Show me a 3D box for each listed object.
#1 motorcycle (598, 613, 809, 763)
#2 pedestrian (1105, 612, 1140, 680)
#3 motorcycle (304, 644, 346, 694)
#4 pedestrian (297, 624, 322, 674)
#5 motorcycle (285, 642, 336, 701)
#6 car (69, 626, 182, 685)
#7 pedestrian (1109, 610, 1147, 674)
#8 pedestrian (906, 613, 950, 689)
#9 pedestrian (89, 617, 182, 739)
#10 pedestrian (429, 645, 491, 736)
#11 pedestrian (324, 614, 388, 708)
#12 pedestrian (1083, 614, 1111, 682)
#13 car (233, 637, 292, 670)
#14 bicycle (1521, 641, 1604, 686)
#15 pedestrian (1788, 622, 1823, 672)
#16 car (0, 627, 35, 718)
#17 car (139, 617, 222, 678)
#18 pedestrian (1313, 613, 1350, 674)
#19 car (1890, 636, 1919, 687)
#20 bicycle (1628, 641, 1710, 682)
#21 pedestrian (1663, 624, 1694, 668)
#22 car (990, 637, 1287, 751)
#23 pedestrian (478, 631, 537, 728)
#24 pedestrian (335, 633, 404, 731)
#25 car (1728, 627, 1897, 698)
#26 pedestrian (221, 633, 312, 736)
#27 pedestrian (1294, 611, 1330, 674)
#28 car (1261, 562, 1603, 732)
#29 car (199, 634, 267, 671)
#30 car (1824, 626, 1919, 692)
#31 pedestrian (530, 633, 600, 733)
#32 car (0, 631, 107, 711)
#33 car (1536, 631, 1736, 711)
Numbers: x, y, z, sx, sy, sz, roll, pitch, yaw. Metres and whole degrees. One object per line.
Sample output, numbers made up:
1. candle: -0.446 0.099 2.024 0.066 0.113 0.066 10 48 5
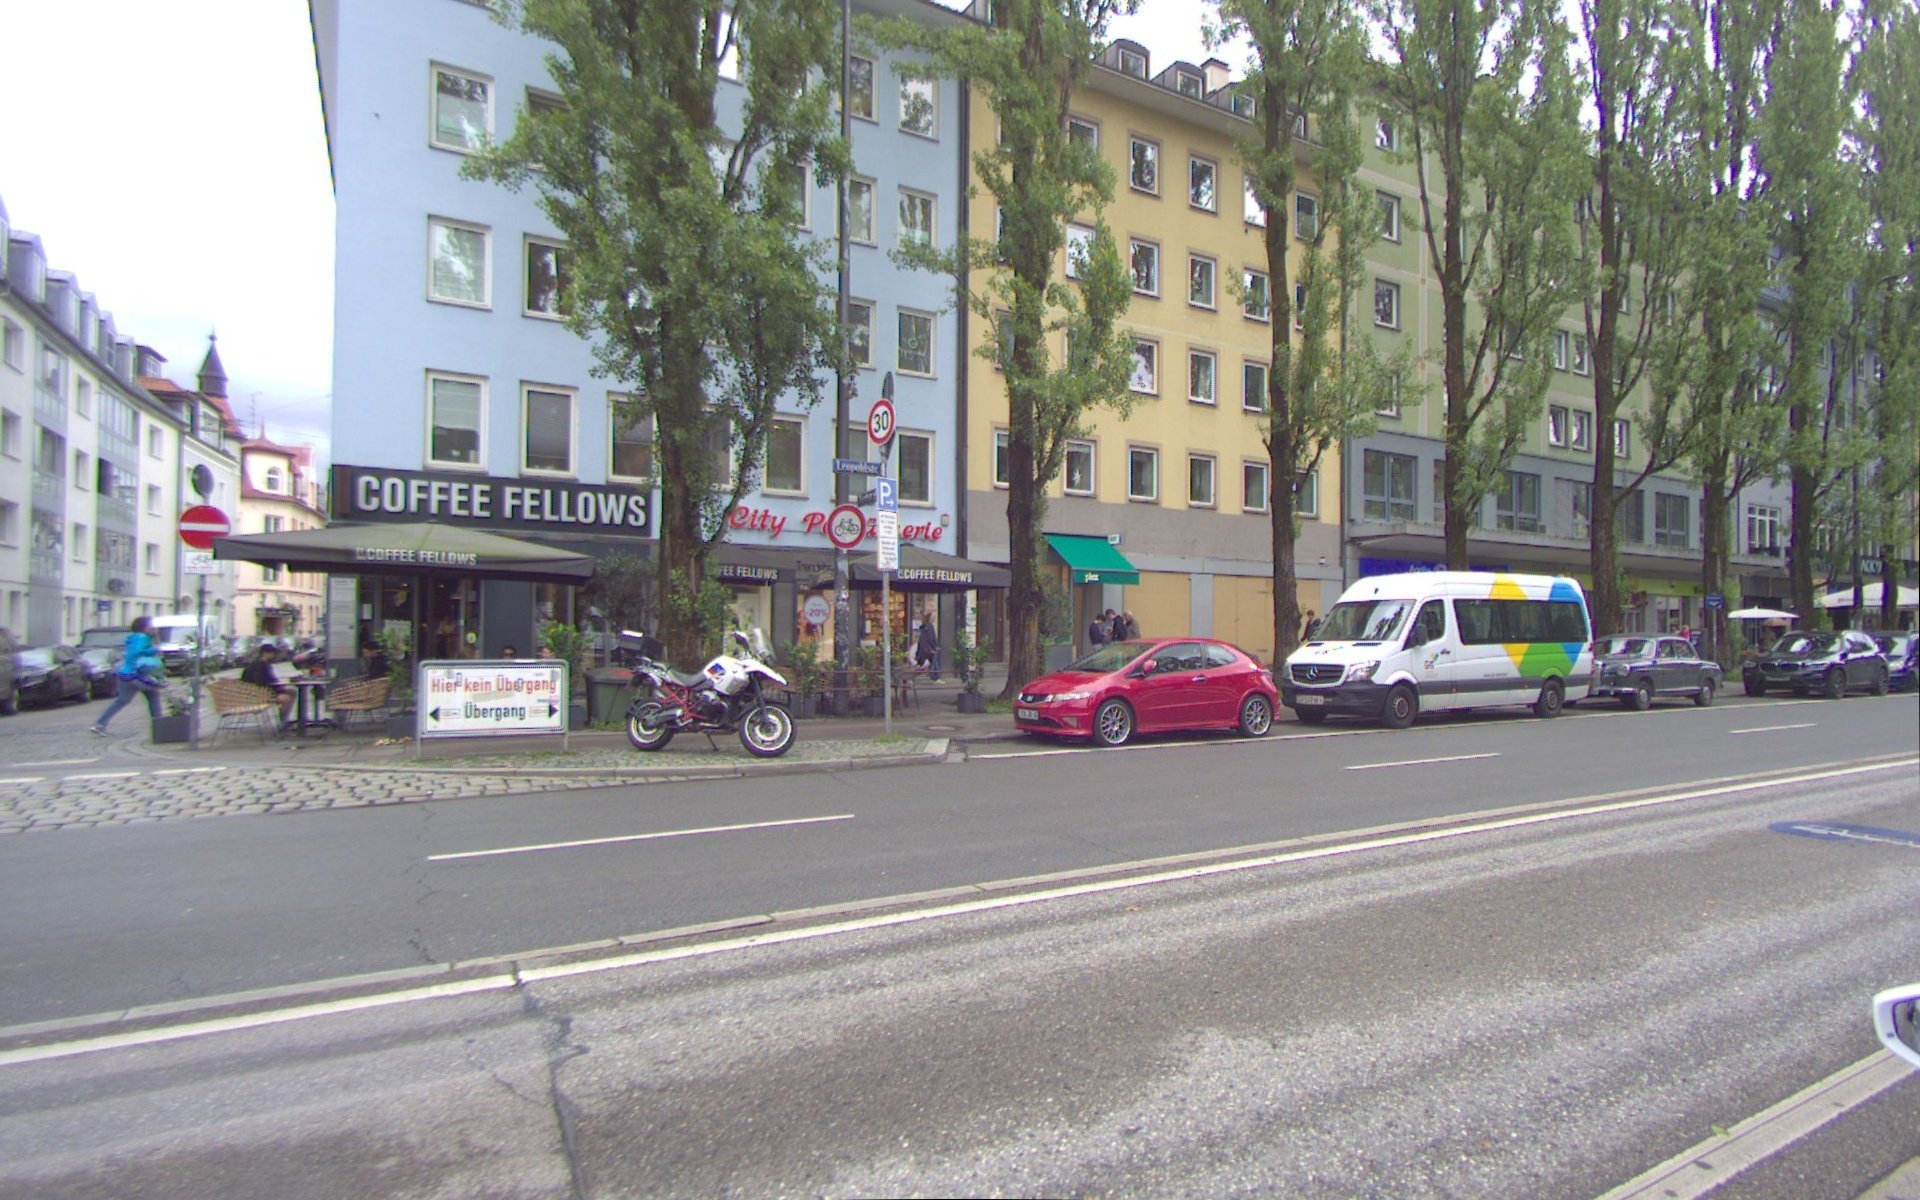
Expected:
1. motorcycle: -2.937 0.954 11.498 2.301 1.584 0.715 1 0 18
2. pedestrian: 4.016 1.143 24.871 0.713 1.657 0.699 0 -1 -6
3. motorcycle: -16.888 1.812 26.757 0.729 1.219 2.748 -1 -1 -28
4. pedestrian: -21.937 1.646 33.872 0.692 1.668 0.859 1 -2 -33
5. motorcycle: -14.706 1.592 22.810 0.729 1.219 2.748 -1 -1 -28
6. car: -27.404 1.824 33.163 2.093 1.789 4.551 1 -3 -30
7. pedestrian: 4.431 1.114 26.561 0.717 1.657 0.695 1 -2 -28
8. pedestrian: -0.753 1.172 23.301 0.775 1.708 0.753 1 -2 -27
9. pedestrian: -11.818 1.090 14.400 0.690 1.668 0.944 -1 -2 44
10. pedestrian: -6.985 1.241 14.023 0.692 1.198 0.811 1 -2 -31
11. pedestrian: -11.890 1.178 19.778 0.933 1.796 0.699 -1 -2 30
12. pedestrian: 3.402 1.188 25.046 0.553 1.657 0.699 0 -1 -6
13. car: -39.304 3.018 56.711 1.957 1.789 4.559 1 -3 -25
14. bicycle: 16.635 1.733 27.790 0.710 1.110 1.862 1 1 -27
15. pedestrian: 29.649 1.645 35.225 0.667 1.708 0.753 2 -2 -29
16. car: -19.673 1.411 19.180 1.960 1.789 4.551 1 -3 -30
17. car: -32.093 1.969 41.493 1.959 2.396 4.554 1 -3 -29
18. pedestrian: 10.659 1.250 28.811 0.717 1.722 0.695 1 -2 -25
19. car: 30.805 1.876 31.061 4.299 1.508 1.790 1 -3 -30
20. bicycle: 21.924 1.880 31.083 0.712 1.110 1.933 1 1 -35
21. pedestrian: 28.084 1.800 39.248 0.667 1.708 0.753 2 -2 -29
22. car: 2.621 1.266 14.525 4.099 1.438 1.729 1 -3 -30
23. pedestrian: -6.663 1.152 14.787 0.692 1.380 0.709 1 -2 -32
24. pedestrian: -8.579 1.168 14.619 0.808 1.380 0.695 1 -2 -27
25. car: 21.761 1.552 25.604 4.557 1.686 1.858 1 -3 -30
26. pedestrian: -9.731 1.161 14.122 0.938 1.380 0.695 1 -2 -27
27. pedestrian: 10.352 1.238 29.541 0.717 1.818 0.695 1 -2 -25
28. car: 8.575 0.826 17.968 6.831 2.601 1.996 1 -3 -30
29. car: -36.804 2.673 50.969 1.957 1.789 4.559 1 -3 -25
30. car: 26.272 1.637 28.449 3.880 1.743 1.700 1 -3 -33
31. pedestrian: -5.702 1.170 14.497 0.838 1.380 0.694 1 -2 -31
32. car: -22.510 1.678 24.336 1.960 1.789 4.551 1 -3 -30
33. car: 14.569 1.468 21.605 4.362 1.572 1.858 1 -3 -30
